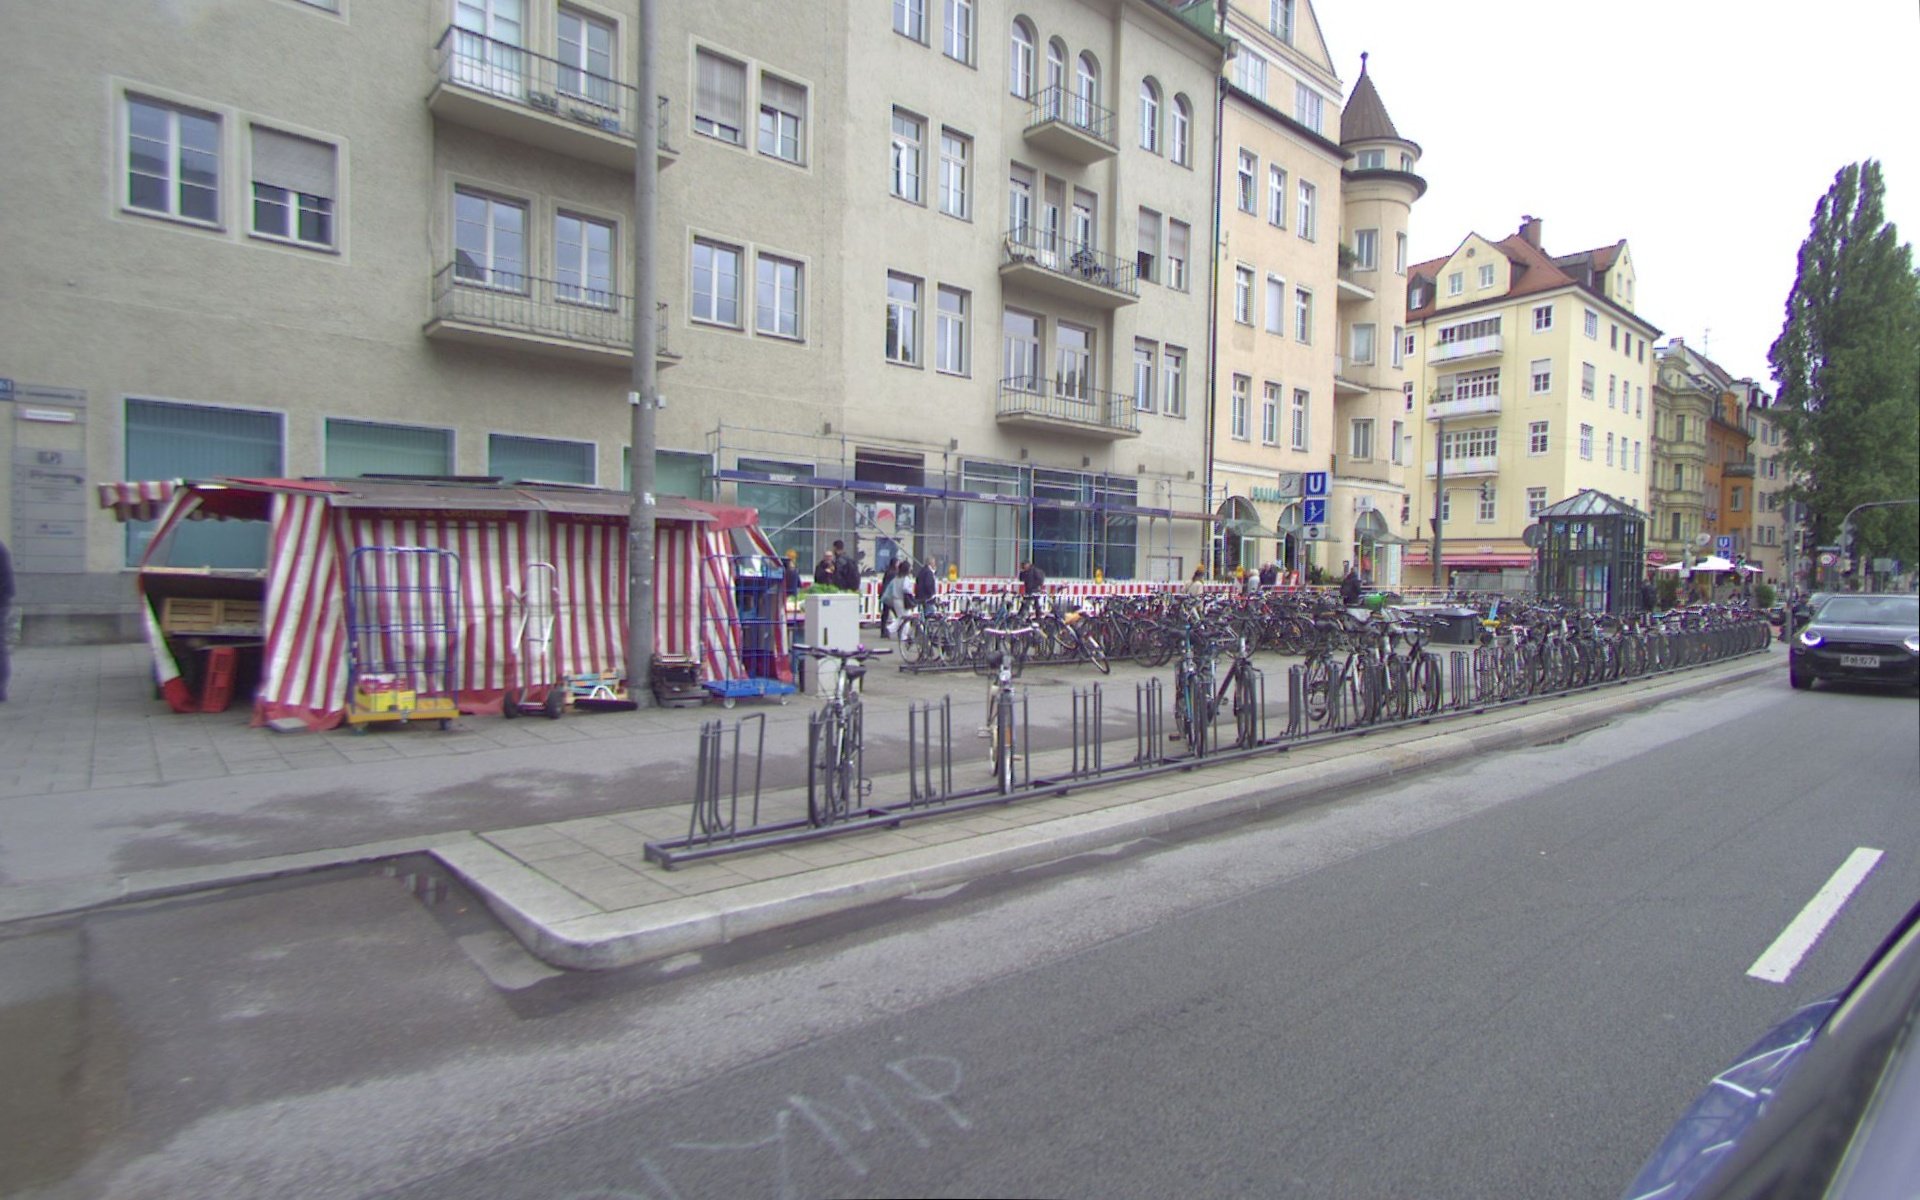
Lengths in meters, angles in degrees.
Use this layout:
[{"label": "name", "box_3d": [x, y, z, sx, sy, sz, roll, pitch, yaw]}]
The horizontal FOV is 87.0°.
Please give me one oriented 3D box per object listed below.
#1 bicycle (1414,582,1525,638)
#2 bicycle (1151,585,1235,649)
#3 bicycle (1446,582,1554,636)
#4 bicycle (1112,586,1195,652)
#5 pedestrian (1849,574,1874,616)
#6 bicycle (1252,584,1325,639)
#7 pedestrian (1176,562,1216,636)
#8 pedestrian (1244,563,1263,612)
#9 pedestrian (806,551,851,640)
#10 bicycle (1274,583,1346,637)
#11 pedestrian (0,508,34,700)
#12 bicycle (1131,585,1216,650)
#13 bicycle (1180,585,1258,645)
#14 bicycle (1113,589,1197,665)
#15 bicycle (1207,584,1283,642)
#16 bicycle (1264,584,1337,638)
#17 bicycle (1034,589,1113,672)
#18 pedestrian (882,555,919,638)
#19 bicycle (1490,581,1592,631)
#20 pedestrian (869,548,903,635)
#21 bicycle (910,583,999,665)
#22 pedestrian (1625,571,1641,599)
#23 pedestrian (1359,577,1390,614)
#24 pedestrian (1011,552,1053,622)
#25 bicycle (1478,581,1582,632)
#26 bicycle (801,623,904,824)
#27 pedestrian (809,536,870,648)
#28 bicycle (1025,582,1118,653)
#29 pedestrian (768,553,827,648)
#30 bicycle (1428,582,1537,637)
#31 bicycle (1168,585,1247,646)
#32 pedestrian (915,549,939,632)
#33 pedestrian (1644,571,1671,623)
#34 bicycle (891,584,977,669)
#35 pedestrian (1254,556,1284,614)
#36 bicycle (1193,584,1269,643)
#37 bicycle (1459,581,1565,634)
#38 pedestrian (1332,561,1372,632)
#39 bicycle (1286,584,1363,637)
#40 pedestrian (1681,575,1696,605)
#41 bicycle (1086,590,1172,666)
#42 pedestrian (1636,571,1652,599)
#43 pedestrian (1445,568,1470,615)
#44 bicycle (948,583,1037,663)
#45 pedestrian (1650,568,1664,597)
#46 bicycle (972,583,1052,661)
[{"label": "bicycle", "box_3d": [12.496, 0.215, 24.895, 0.617, 1.242, 2.369, 0, 2, -38]}, {"label": "bicycle", "box_3d": [4.404, 0.301, 19.192, 1.530, 1.091, 0.404, 4, 3, 42]}, {"label": "bicycle", "box_3d": [13.648, 0.192, 25.653, 0.617, 1.242, 2.318, 0, 2, -38]}, {"label": "bicycle", "box_3d": [3.503, 0.324, 18.418, 1.447, 1.091, 0.404, 4, 3, 41]}, {"label": "pedestrian", "box_3d": [40.545, -0.226, 45.521, 0.729, 1.823, 0.701, 3, 4, 40]}, {"label": "bicycle", "box_3d": [7.065, 0.228, 21.797, 1.449, 1.091, 0.403, 4, 4, 45]}, {"label": "pedestrian", "box_3d": [5.232, -0.042, 22.424, 0.658, 1.602, 0.529, 2, 2, 39]}, {"label": "pedestrian", "box_3d": [9.406, -0.407, 32.445, 0.558, 1.560, 0.588, 1, 2, 15]}, {"label": "pedestrian", "box_3d": [-2.378, -0.092, 18.298, 0.543, 1.584, 0.653, 0, 2, -38]}, {"label": "bicycle", "box_3d": [7.772, 0.208, 22.513, 1.449, 1.091, 0.403, 4, 4, 45]}, {"label": "pedestrian", "box_3d": [-9.265, 0.029, 9.505, 0.605, 1.792, 0.712, 3, 2, 32]}, {"label": "bicycle", "box_3d": [3.949, 0.312, 18.820, 1.530, 1.091, 0.404, 4, 3, 42]}, {"label": "bicycle", "box_3d": [5.153, 0.275, 20.156, 1.447, 1.091, 0.404, 4, 3, 41]}, {"label": "bicycle", "box_3d": [3.118, 0.408, 16.313, 0.402, 1.091, 1.454, 0, 3, -33]}, {"label": "bicycle", "box_3d": [5.889, 0.253, 20.972, 1.447, 1.091, 0.404, 4, 3, 41]}, {"label": "bicycle", "box_3d": [7.443, 0.218, 22.162, 1.449, 1.091, 0.403, 4, 4, 45]}, {"label": "bicycle", "box_3d": [1.646, 0.413, 14.894, 0.402, 1.091, 1.477, 0, 3, -25]}, {"label": "pedestrian", "box_3d": [-1.136, -0.072, 19.403, 0.458, 1.559, 0.560, -1, 1, -40]}, {"label": "bicycle", "box_3d": [15.738, 0.140, 27.474, 0.617, 1.242, 2.318, 0, 2, -38]}, {"label": "pedestrian", "box_3d": [-1.458, -0.171, 19.980, 0.464, 1.694, 0.526, -1, 1, -37]}, {"label": "bicycle", "box_3d": [-0.102, 0.334, 15.348, 0.403, 1.116, 1.633, 0, 3, -38]}, {"label": "pedestrian", "box_3d": [37.135, -0.833, 55.861, 0.575, 1.544, 0.528, 0, 2, -40]}, {"label": "pedestrian", "box_3d": [15.036, -0.175, 36.749, 0.903, 1.260, 0.700, -2, 3, -42]}, {"label": "pedestrian", "box_3d": [1.725, -0.316, 24.243, 0.819, 1.652, 0.564, 0, 2, -38]}, {"label": "bicycle", "box_3d": [15.165, 0.153, 27.002, 0.617, 1.242, 2.331, 0, 2, -38]}, {"label": "bicycle", "box_3d": [-0.615, 0.679, 6.192, 0.536, 1.068, 1.576, 0, -2, -3]}, {"label": "pedestrian", "box_3d": [-2.064, -0.152, 17.368, 0.713, 1.851, 0.720, 2, 2, 35]}, {"label": "bicycle", "box_3d": [1.902, 0.277, 17.409, 1.627, 1.116, 0.404, 4, 3, 40]}, {"label": "pedestrian", "box_3d": [-2.719, -0.008, 16.923, 0.716, 1.546, 0.678, 0, 2, -39]}, {"label": "bicycle", "box_3d": [13.028, 0.203, 25.299, 0.617, 1.242, 2.344, 0, 2, -38]}, {"label": "bicycle", "box_3d": [4.811, 0.287, 19.709, 1.447, 1.091, 0.404, 4, 3, 41]}, {"label": "pedestrian", "box_3d": [-0.691, -0.204, 21.147, 0.495, 1.695, 0.541, 0, 1, -3]}, {"label": "pedestrian", "box_3d": [24.443, -0.110, 35.479, 0.634, 1.799, 0.605, 1, 1, 26]}, {"label": "bicycle", "box_3d": [-0.409, 0.358, 14.861, 0.402, 1.116, 1.635, 0, 3, -35]}, {"label": "pedestrian", "box_3d": [9.642, -0.474, 31.583, 0.634, 1.760, 0.617, 0, 2, -42]}, {"label": "bicycle", "box_3d": [5.523, 0.262, 20.653, 1.447, 1.091, 0.404, 4, 3, 41]}, {"label": "bicycle", "box_3d": [14.310, 0.174, 26.294, 0.617, 1.242, 2.344, 0, 2, -38]}, {"label": "pedestrian", "box_3d": [9.805, -0.099, 25.346, 0.728, 1.729, 0.703, 2, 2, 9]}, {"label": "bicycle", "box_3d": [8.231, 0.209, 22.931, 0.403, 1.091, 1.651, 0, 3, -38]}, {"label": "pedestrian", "box_3d": [41.208, -0.574, 57.241, 0.575, 1.705, 0.552, 0, 2, -40]}, {"label": "bicycle", "box_3d": [2.669, 0.415, 16.121, 0.402, 1.091, 1.484, 0, 3, -35]}, {"label": "pedestrian", "box_3d": [37.530, -0.827, 55.520, 0.575, 1.544, 0.528, 0, 2, -40]}, {"label": "pedestrian", "box_3d": [18.503, -0.315, 37.656, 0.579, 1.721, 0.567, -1, 3, -31]}, {"label": "bicycle", "box_3d": [0.475, 0.323, 15.708, 0.403, 1.116, 1.633, 0, 3, -38]}, {"label": "pedestrian", "box_3d": [42.482, -1.064, 61.676, 0.575, 1.705, 0.552, 0, 2, -40]}, {"label": "bicycle", "box_3d": [0.808, 0.321, 16.208, 0.402, 1.116, 1.636, 0, 3, -32]}]
